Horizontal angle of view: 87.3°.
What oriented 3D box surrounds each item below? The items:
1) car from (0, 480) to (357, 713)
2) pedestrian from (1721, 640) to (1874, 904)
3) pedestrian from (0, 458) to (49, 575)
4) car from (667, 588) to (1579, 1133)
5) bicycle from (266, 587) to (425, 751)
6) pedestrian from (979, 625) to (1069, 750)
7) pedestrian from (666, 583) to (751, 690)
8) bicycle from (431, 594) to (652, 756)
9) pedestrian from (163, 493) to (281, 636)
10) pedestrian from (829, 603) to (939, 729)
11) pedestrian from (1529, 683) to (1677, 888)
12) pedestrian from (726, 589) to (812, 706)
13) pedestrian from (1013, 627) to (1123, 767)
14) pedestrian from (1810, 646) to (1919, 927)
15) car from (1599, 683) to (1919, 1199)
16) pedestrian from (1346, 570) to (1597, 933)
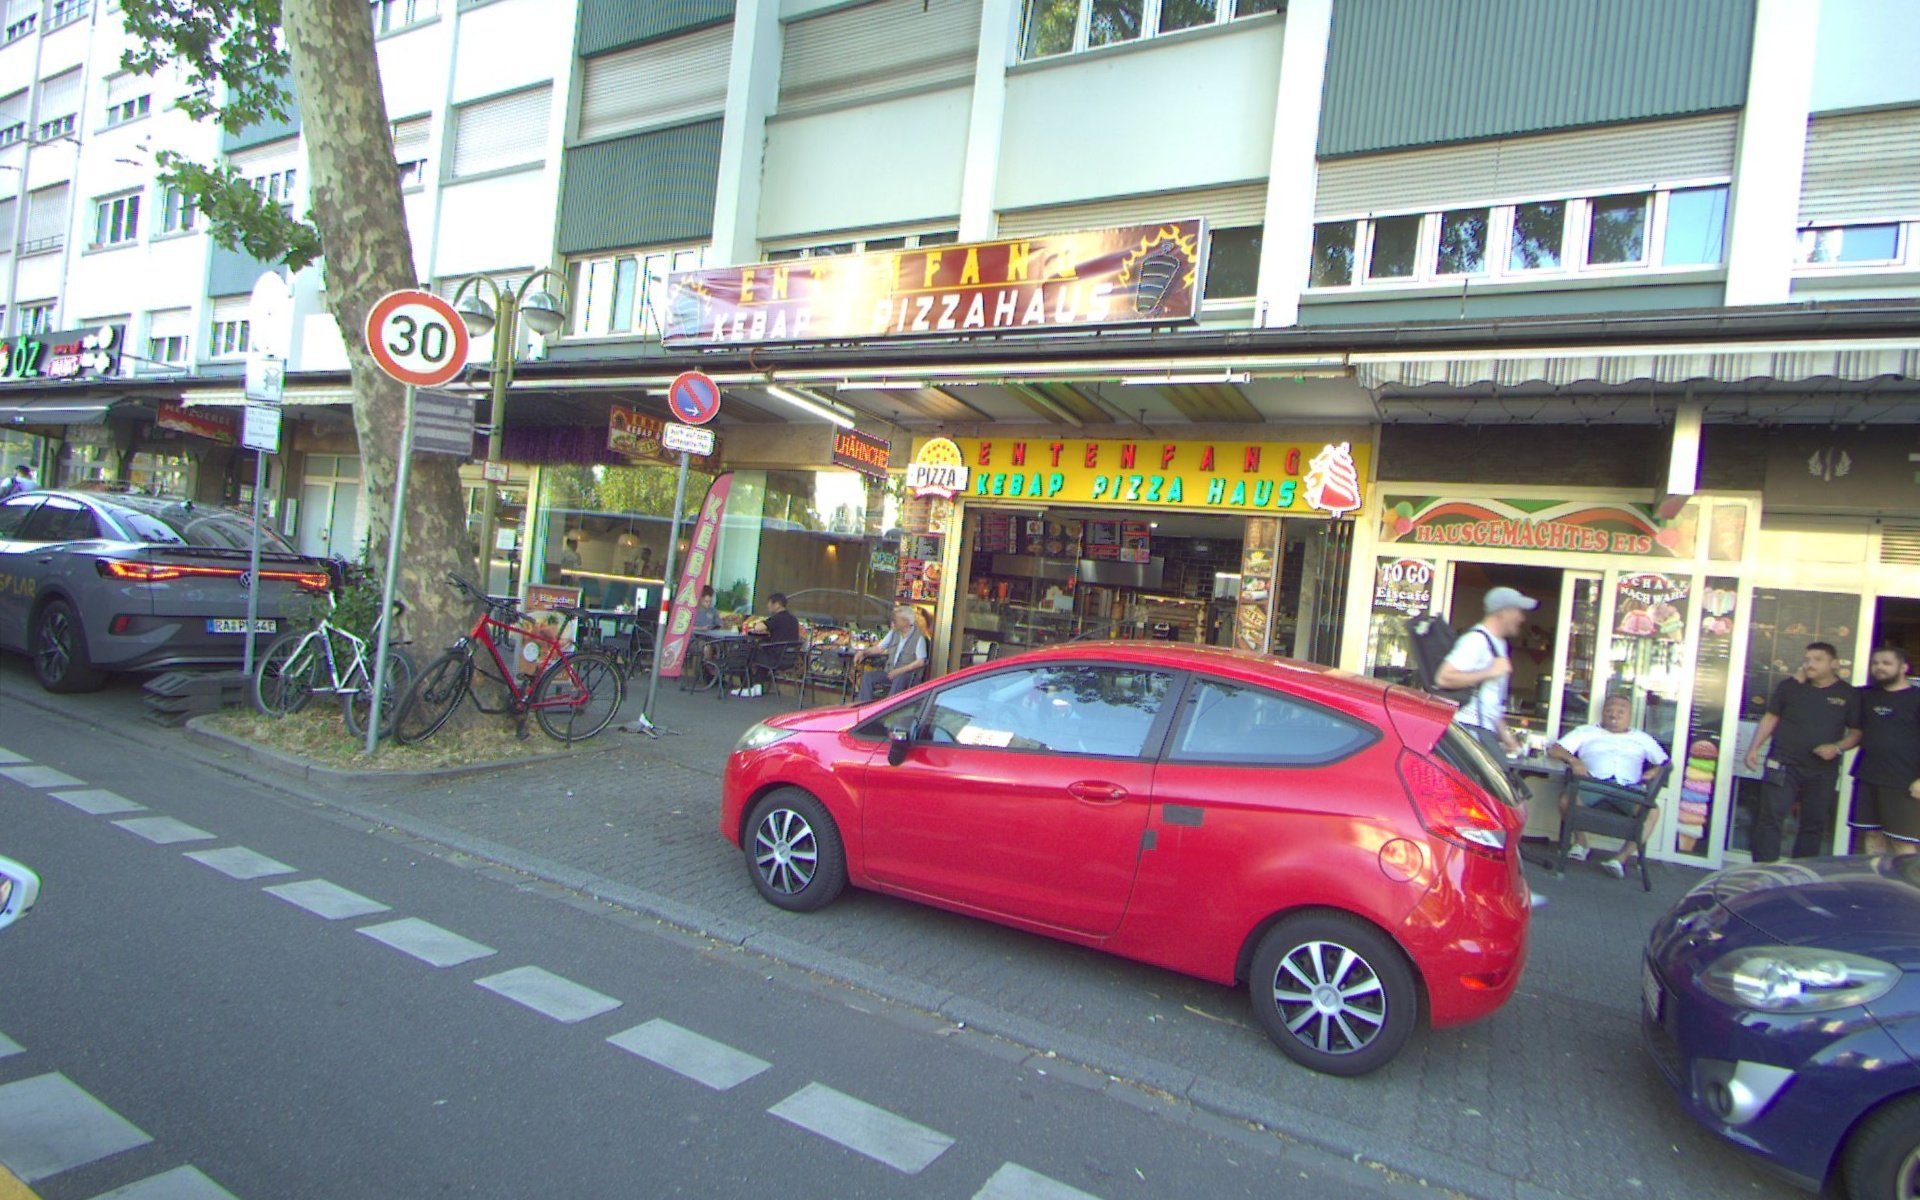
[{"bbox_3d":[-7.649,-0.166,9.097,4.223,1.619,1.742,6,2,27],"label":"car"},{"bbox_3d":[6.037,1.198,7.292,0.588,1.759,0.587,8,3,33],"label":"pedestrian"},{"bbox_3d":[-17.250,-1.521,18.257,0.701,2.040,0.770,6,2,28],"label":"pedestrian"},{"bbox_3d":[0.640,0.873,4.903,3.780,1.448,1.668,6,2,27],"label":"car"},{"bbox_3d":[-4.280,0.457,6.993,1.110,0.941,0.295,9,6,21],"label":"bicycle"},{"bbox_3d":[0.659,0.872,10.292,0.585,1.172,0.671,6,3,31],"label":"pedestrian"},{"bbox_3d":[-3.066,0.438,12.274,0.694,1.220,0.675,7,3,42],"label":"pedestrian"},{"bbox_3d":[-3.067,0.535,7.471,0.291,1.082,1.455,12,7,43],"label":"bicycle"},{"bbox_3d":[-8.996,-0.419,12.302,0.739,1.600,0.875,6,0,-12],"label":"pedestrian"},{"bbox_3d":[-0.810,0.691,10.777,0.861,1.237,0.688,2,3,-44],"label":"pedestrian"},{"bbox_3d":[4.803,1.320,7.528,0.767,1.249,1.202,6,3,34],"label":"pedestrian"},{"bbox_3d":[-2.221,0.539,11.710,0.701,1.260,0.614,7,3,41],"label":"pedestrian"},{"bbox_3d":[0.999,0.865,9.320,0.740,1.172,0.593,6,3,33],"label":"pedestrian"},{"bbox_3d":[6.373,1.239,6.837,0.636,1.783,0.610,8,3,33],"label":"pedestrian"},{"bbox_3d":[4.033,1.247,2.810,3.543,1.486,1.620,7,2,29],"label":"car"},{"bbox_3d":[3.166,0.857,6.228,1.104,1.913,1.023,6,0,32],"label":"pedestrian"}]
